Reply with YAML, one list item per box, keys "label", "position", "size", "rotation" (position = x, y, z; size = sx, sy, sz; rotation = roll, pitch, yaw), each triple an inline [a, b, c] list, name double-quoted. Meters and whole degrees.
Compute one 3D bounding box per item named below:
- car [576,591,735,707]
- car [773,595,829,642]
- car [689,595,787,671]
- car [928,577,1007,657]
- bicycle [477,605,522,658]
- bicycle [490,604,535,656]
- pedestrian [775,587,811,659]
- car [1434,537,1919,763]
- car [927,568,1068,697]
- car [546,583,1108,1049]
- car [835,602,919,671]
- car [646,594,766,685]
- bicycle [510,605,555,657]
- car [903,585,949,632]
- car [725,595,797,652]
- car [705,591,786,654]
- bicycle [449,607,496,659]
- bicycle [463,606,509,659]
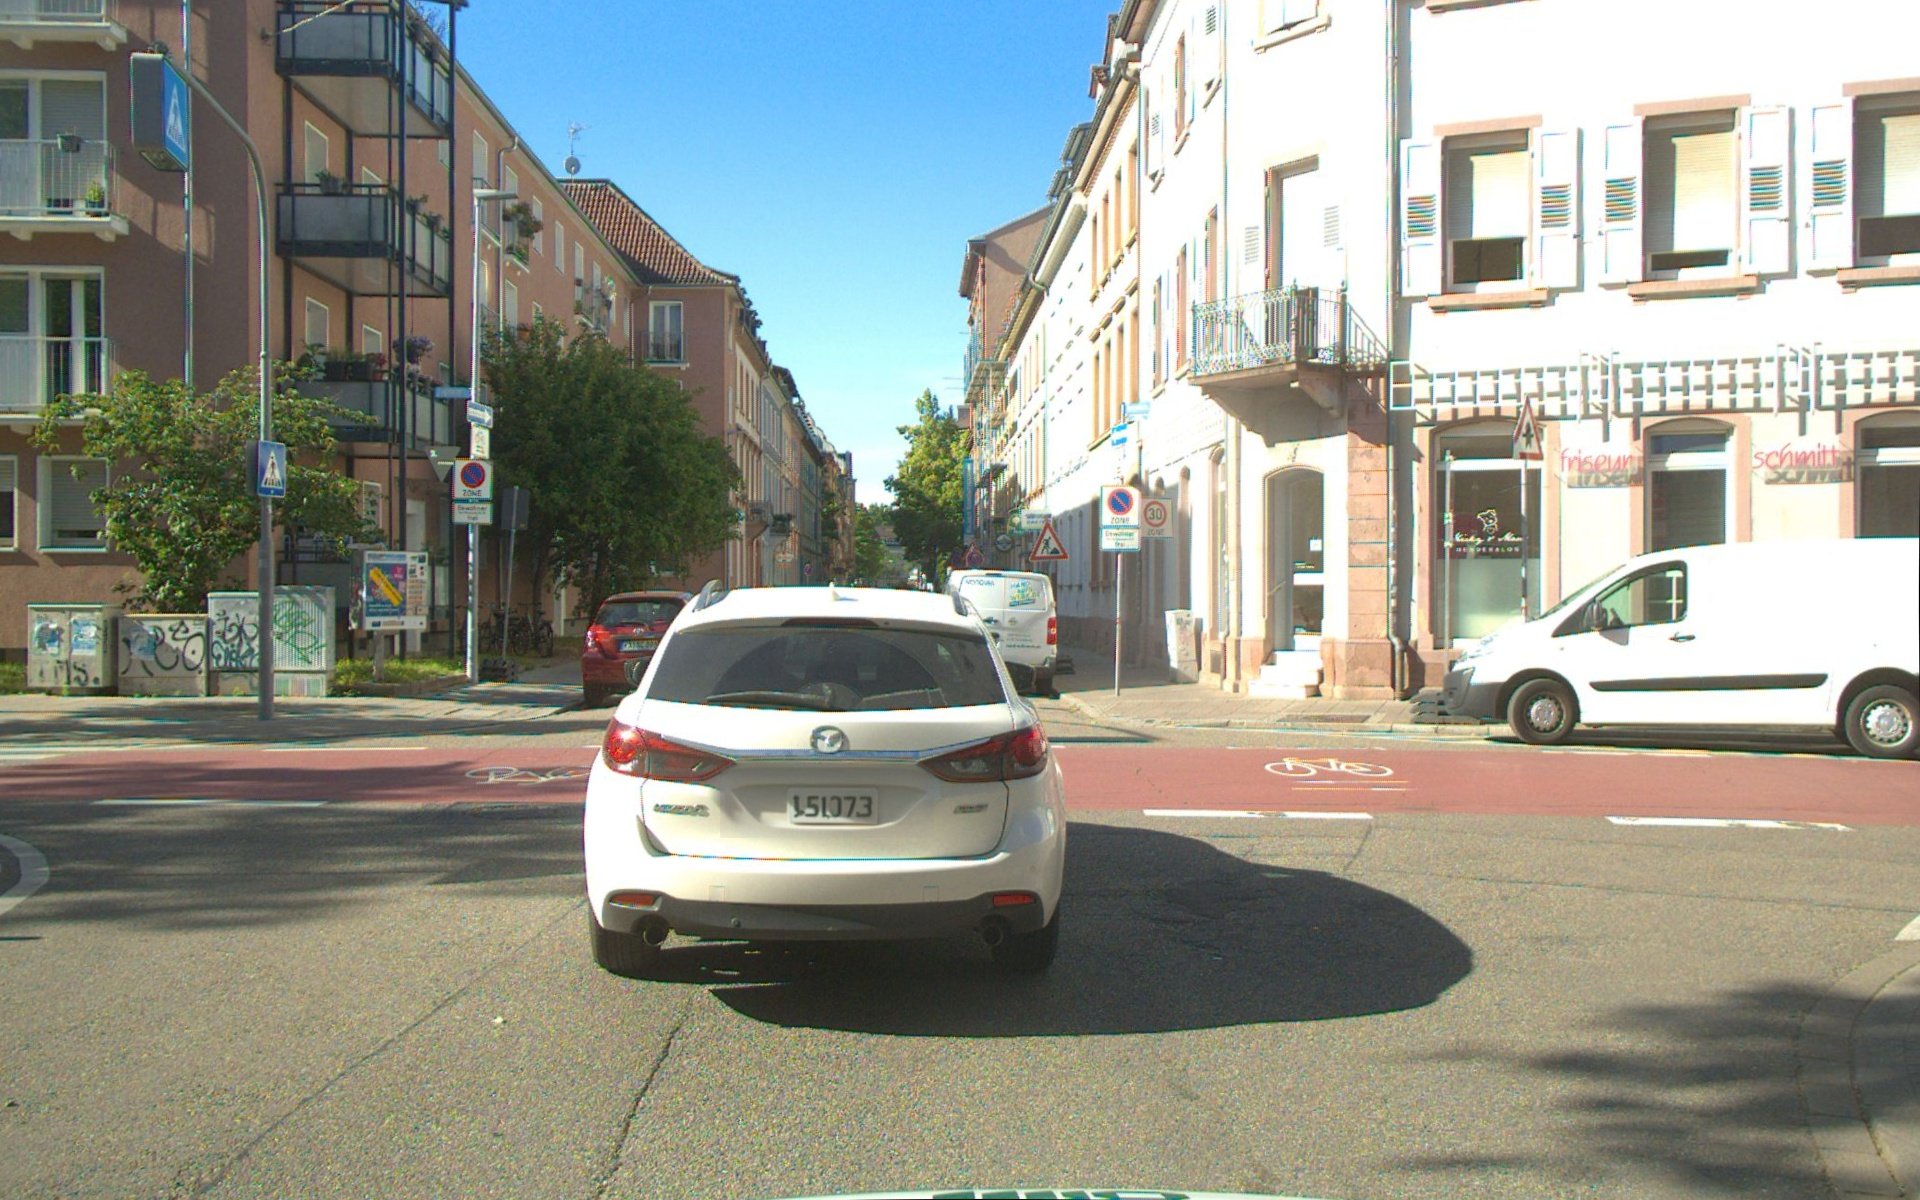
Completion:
- label: "car"
  position: [-4.294, 0.647, 23.845]
  size: [1.650, 1.526, 3.806]
  rotation: [0, 0, -1]
- label: "car"
  position: [-5.371, 0.611, 56.196]
  size: [1.620, 1.526, 3.762]
  rotation: [0, 0, -1]
- label: "car"
  position: [-4.653, 0.654, 35.104]
  size: [1.620, 1.526, 3.762]
  rotation: [0, 0, -1]
- label: "car"
  position: [0.144, 0.405, 41.197]
  size: [1.856, 1.892, 3.994]
  rotation: [0, 0, -1]
- label: "bicycle"
  position: [-9.648, 0.644, 34.667]
  size: [1.193, 1.089, 0.252]
  rotation: [0, 0, 38]
- label: "bicycle"
  position: [-9.448, 0.628, 34.913]
  size: [1.193, 1.090, 0.252]
  rotation: [0, 0, 38]
- label: "pedestrian"
  position: [-3.906, 0.535, 38.635]
  size: [0.720, 1.642, 0.813]
  rotation: [0, 0, -14]
- label: "car"
  position: [7.218, 0.432, 16.012]
  size: [4.906, 1.980, 2.051]
  rotation: [0, 0, 21]
- label: "car"
  position: [0.520, 0.485, 27.657]
  size: [1.857, 1.891, 5.010]
  rotation: [2, 0, -4]
- label: "car"
  position: [-0.460, 0.681, 7.270]
  size: [1.794, 1.482, 3.961]
  rotation: [0, 0, -1]
- label: "car"
  position: [-1.783, 0.759, 36.566]
  size: [1.725, 1.434, 4.327]
  rotation: [0, 0, -1]
- label: "car"
  position: [-4.531, 0.666, 30.011]
  size: [1.620, 1.526, 4.079]
  rotation: [0, 0, -1]
- label: "bicycle"
  position: [-9.052, 0.653, 35.000]
  size: [1.196, 1.090, 0.252]
  rotation: [0, 0, 38]
- label: "car"
  position: [-1.399, 0.328, 68.763]
  size: [1.856, 1.892, 3.994]
  rotation: [0, 0, -1]
- label: "car"
  position: [-5.512, 0.616, 46.191]
  size: [1.620, 1.526, 3.762]
  rotation: [0, 0, -1]
- label: "car"
  position: [-5.370, 0.545, 41.780]
  size: [1.620, 1.526, 3.762]
  rotation: [0, 0, -1]
- label: "bicycle"
  position: [-10.057, 0.680, 34.120]
  size: [1.193, 1.053, 0.290]
  rotation: [0, 0, 38]
- label: "bicycle"
  position: [-9.858, 0.668, 34.374]
  size: [1.193, 1.091, 0.265]
  rotation: [0, 0, 38]
